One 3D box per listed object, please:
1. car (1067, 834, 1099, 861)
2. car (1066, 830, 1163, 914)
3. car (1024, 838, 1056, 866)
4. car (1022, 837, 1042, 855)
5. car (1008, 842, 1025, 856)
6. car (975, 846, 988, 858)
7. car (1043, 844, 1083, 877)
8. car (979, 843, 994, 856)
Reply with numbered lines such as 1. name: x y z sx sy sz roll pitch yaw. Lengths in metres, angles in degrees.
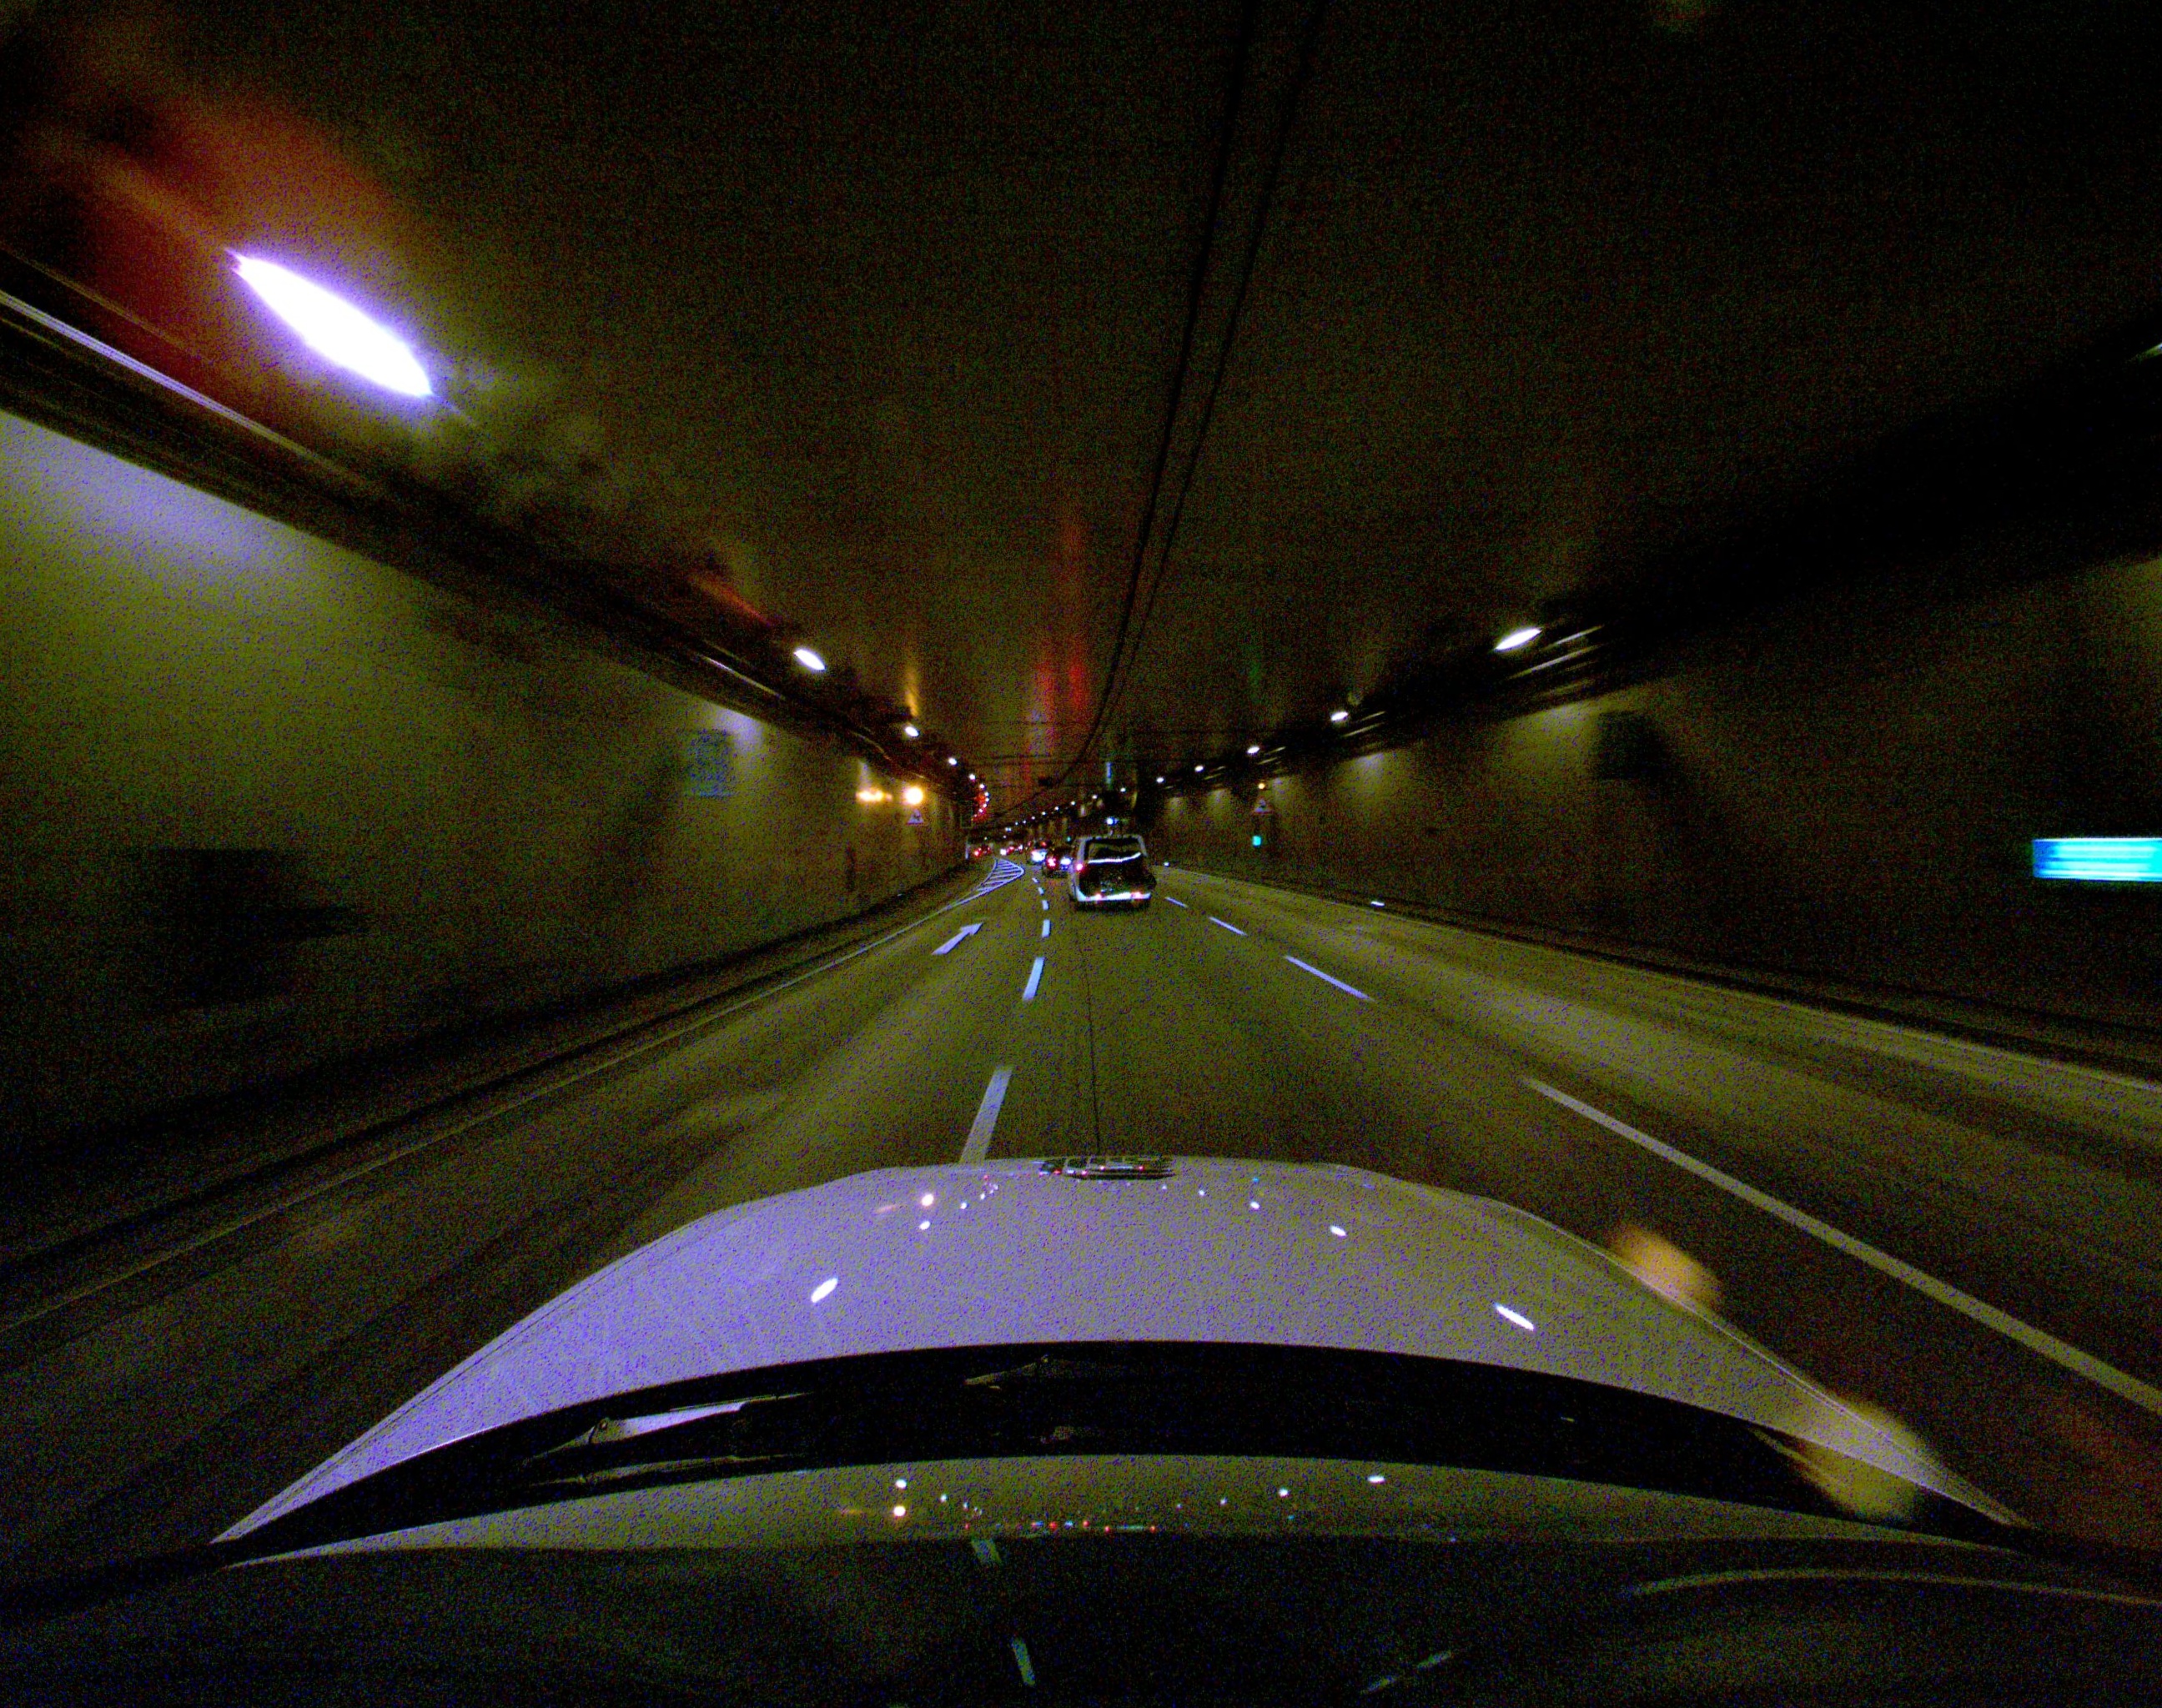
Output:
1. car: 0.101 -0.414 57.560 1.870 1.761 3.991 0 -1 -6
2. car: 0.718 0.369 21.118 1.989 1.847 5.296 -1 1 -3
3. car: -2.589 -0.159 50.676 1.602 1.593 3.346 -1 2 -9
4. car: -4.934 -0.793 82.070 1.603 1.630 3.342 0 -1 -11
5. car: -8.394 -0.623 105.175 1.823 1.630 3.829 0 -1 -11
6. car: -15.158 -0.296 123.935 1.823 1.630 3.829 0 -1 -11
7. car: -0.854 0.268 36.926 1.600 1.395 3.271 -1 1 -5
8. car: -12.449 -0.621 106.956 1.822 1.630 3.830 0 -1 -10
